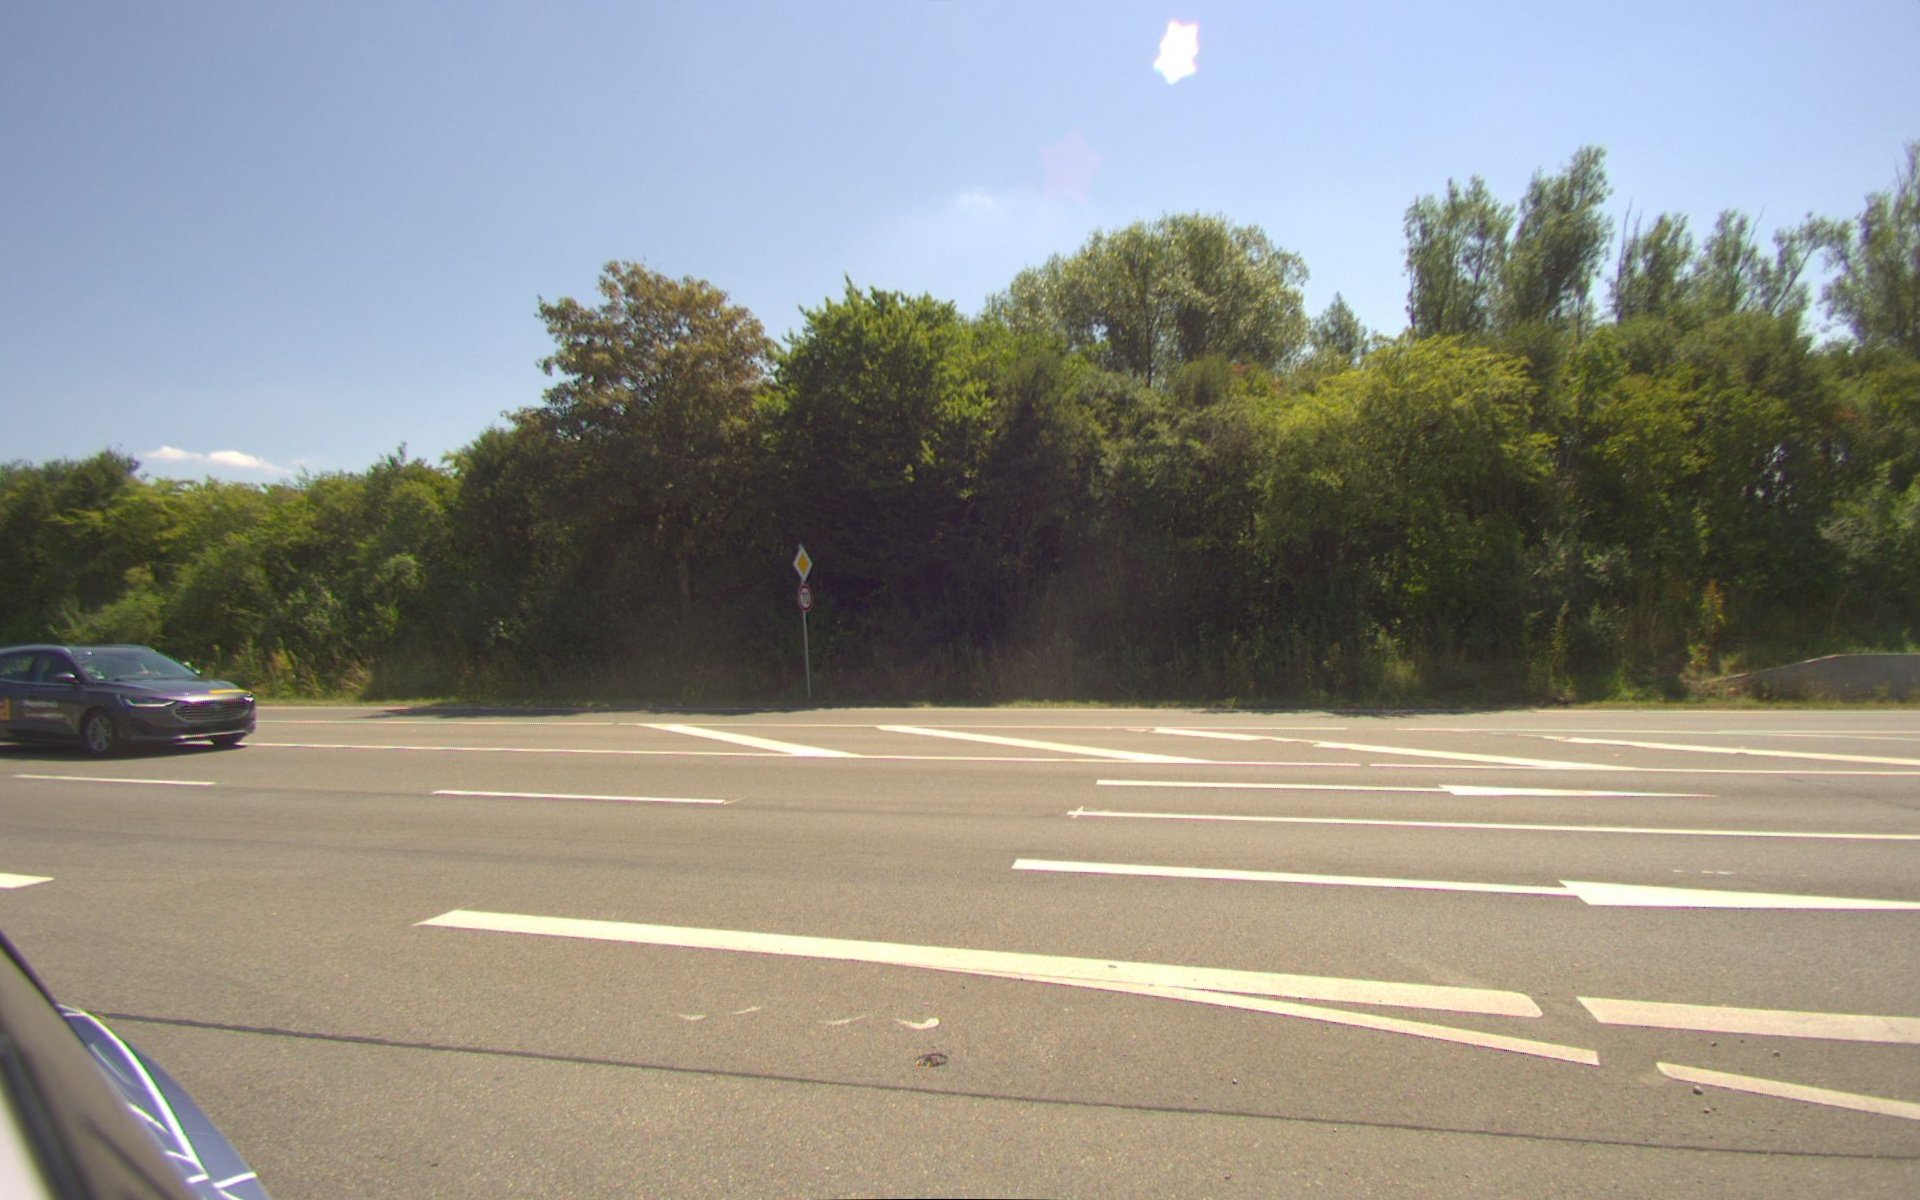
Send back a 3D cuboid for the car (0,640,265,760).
[{"bbox_3d":[-12.035,1.366,14.006,4.356,1.453,1.729,-3,-2,18],"label":"car"}]
